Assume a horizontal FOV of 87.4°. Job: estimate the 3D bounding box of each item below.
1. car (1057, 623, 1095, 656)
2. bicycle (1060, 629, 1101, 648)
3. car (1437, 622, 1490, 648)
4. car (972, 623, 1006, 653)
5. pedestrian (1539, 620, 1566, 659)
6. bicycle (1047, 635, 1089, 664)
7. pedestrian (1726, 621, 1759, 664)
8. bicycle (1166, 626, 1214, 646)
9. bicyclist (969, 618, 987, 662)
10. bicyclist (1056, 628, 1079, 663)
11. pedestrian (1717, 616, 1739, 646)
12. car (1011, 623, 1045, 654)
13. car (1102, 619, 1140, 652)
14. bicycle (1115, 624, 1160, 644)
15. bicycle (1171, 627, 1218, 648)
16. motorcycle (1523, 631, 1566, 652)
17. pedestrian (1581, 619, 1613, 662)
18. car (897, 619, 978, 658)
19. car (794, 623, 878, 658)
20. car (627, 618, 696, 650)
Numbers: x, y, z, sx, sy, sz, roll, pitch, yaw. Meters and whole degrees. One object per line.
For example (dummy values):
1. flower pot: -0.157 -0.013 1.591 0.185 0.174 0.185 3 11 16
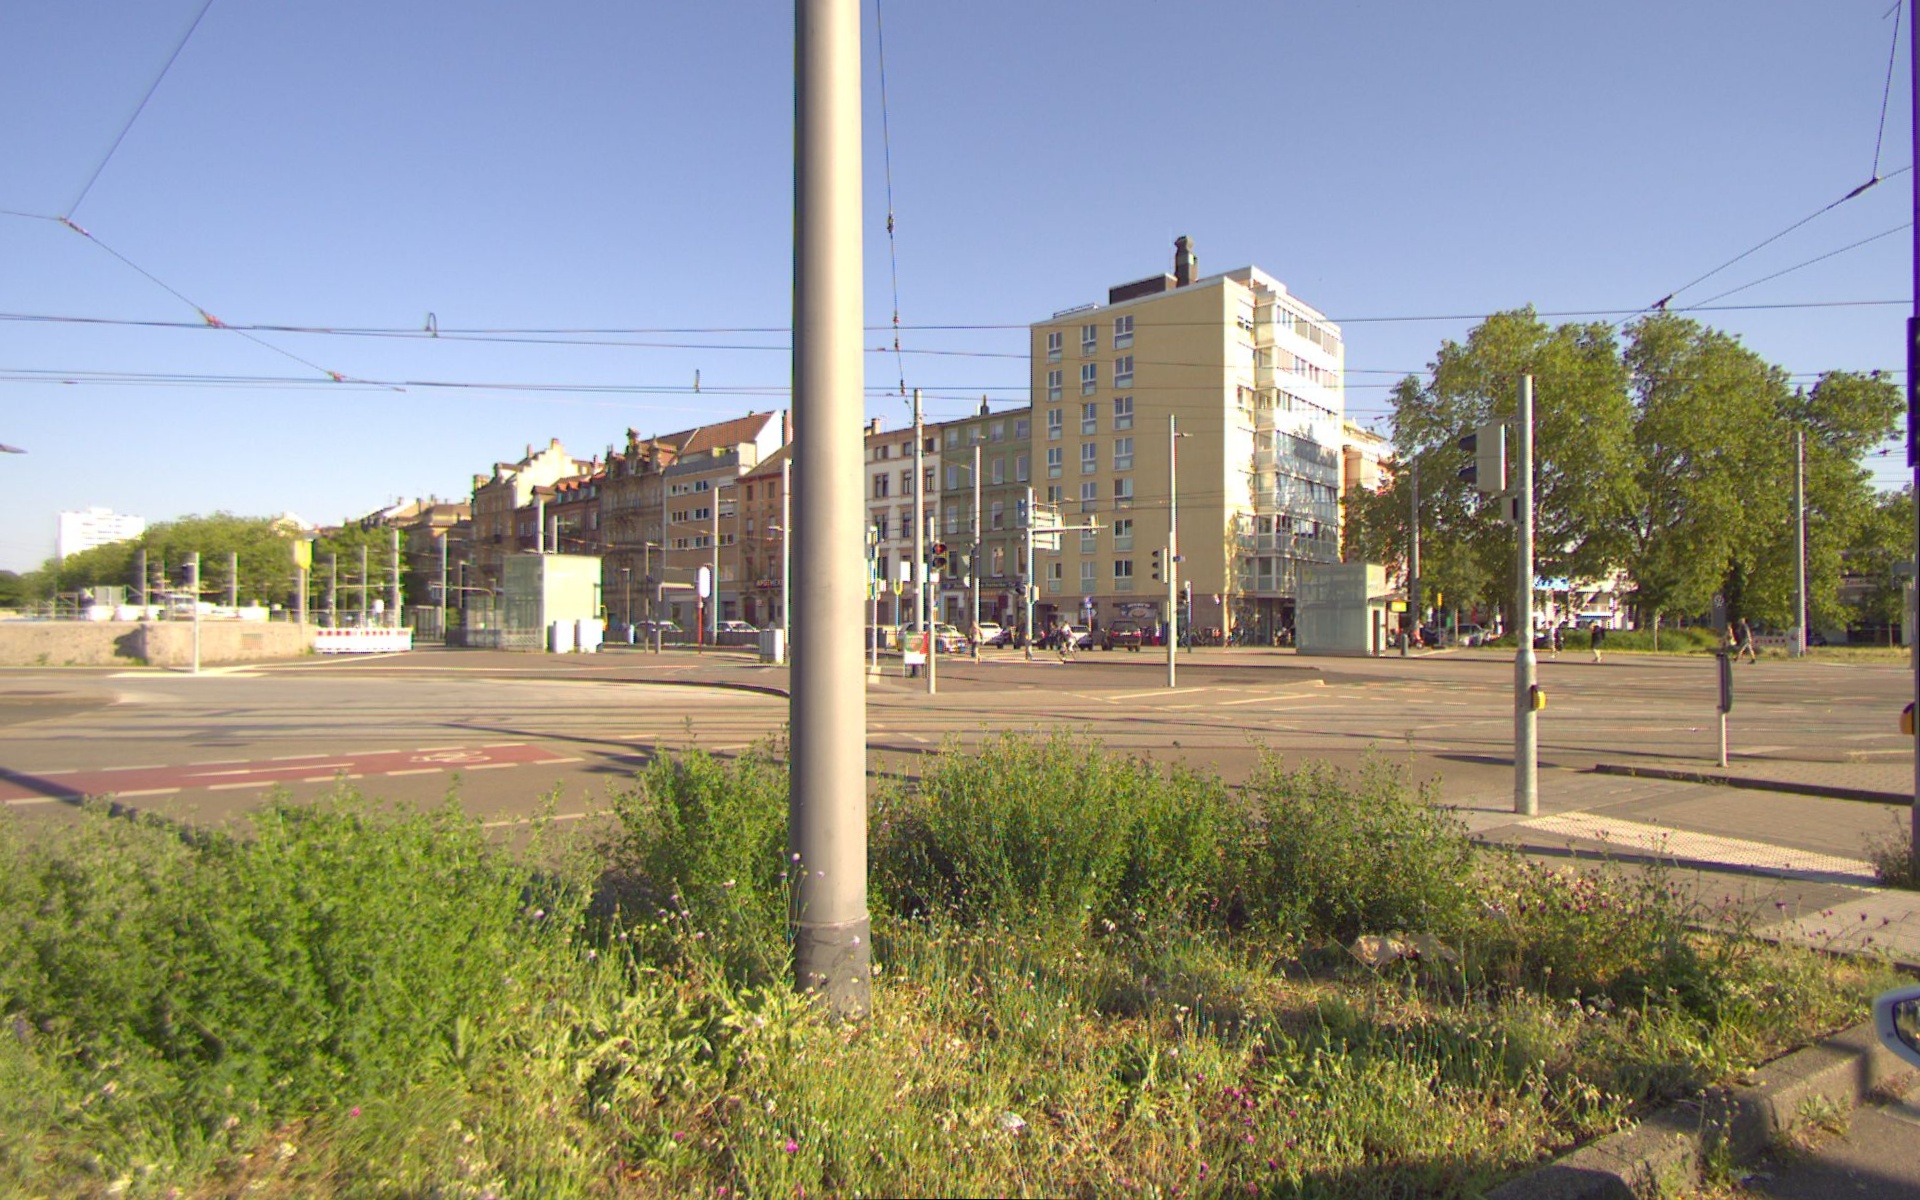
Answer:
1. car: 6.797 2.300 59.252 1.960 1.728 4.001 2 0 4
2. bicycle: 8.258 2.640 69.023 3.003 1.167 0.637 1 0 44
3. car: 31.998 2.212 63.806 3.973 1.588 1.753 2 0 -44
4. car: 1.892 2.399 63.889 1.960 1.728 4.001 2 0 4
5. pedestrian: 27.508 1.829 46.642 0.747 1.728 0.793 2 0 -22
6. bicycle: 4.378 1.990 40.643 0.617 1.104 1.914 2 0 44
7. pedestrian: 32.994 1.787 42.354 0.747 1.728 0.793 2 0 -22
8. bicycle: 14.441 2.250 63.214 3.003 1.167 0.637 1 0 44
9. bicyclist: 0.718 1.595 40.131 0.653 1.706 0.980 2 0 2
10. bicyclist: 4.337 1.839 40.588 0.617 1.368 0.658 2 0 44
11. pedestrian: 44.636 1.794 58.375 0.491 1.716 0.852 2 0 -32
12. car: 4.171 2.322 61.526 1.960 1.728 4.001 2 0 4
13. car: 9.154 1.989 57.379 1.684 1.728 4.001 2 0 4
14. bicycle: 11.647 2.206 66.009 3.003 1.167 0.637 1 0 44
15. bicycle: 14.866 2.381 63.788 3.003 1.167 0.637 1 0 44
16. motorcycle: 29.135 2.065 50.105 1.753 0.926 0.676 2 0 41
17. pedestrian: 26.318 1.651 41.515 0.747 1.728 0.793 2 0 -22
18. car: -1.151 1.836 48.990 1.774 1.684 3.949 2 0 -43
19. car: -6.672 2.134 53.915 4.649 1.684 1.778 2 0 40
20. car: -19.463 2.205 65.481 4.837 1.849 1.990 2 0 41
